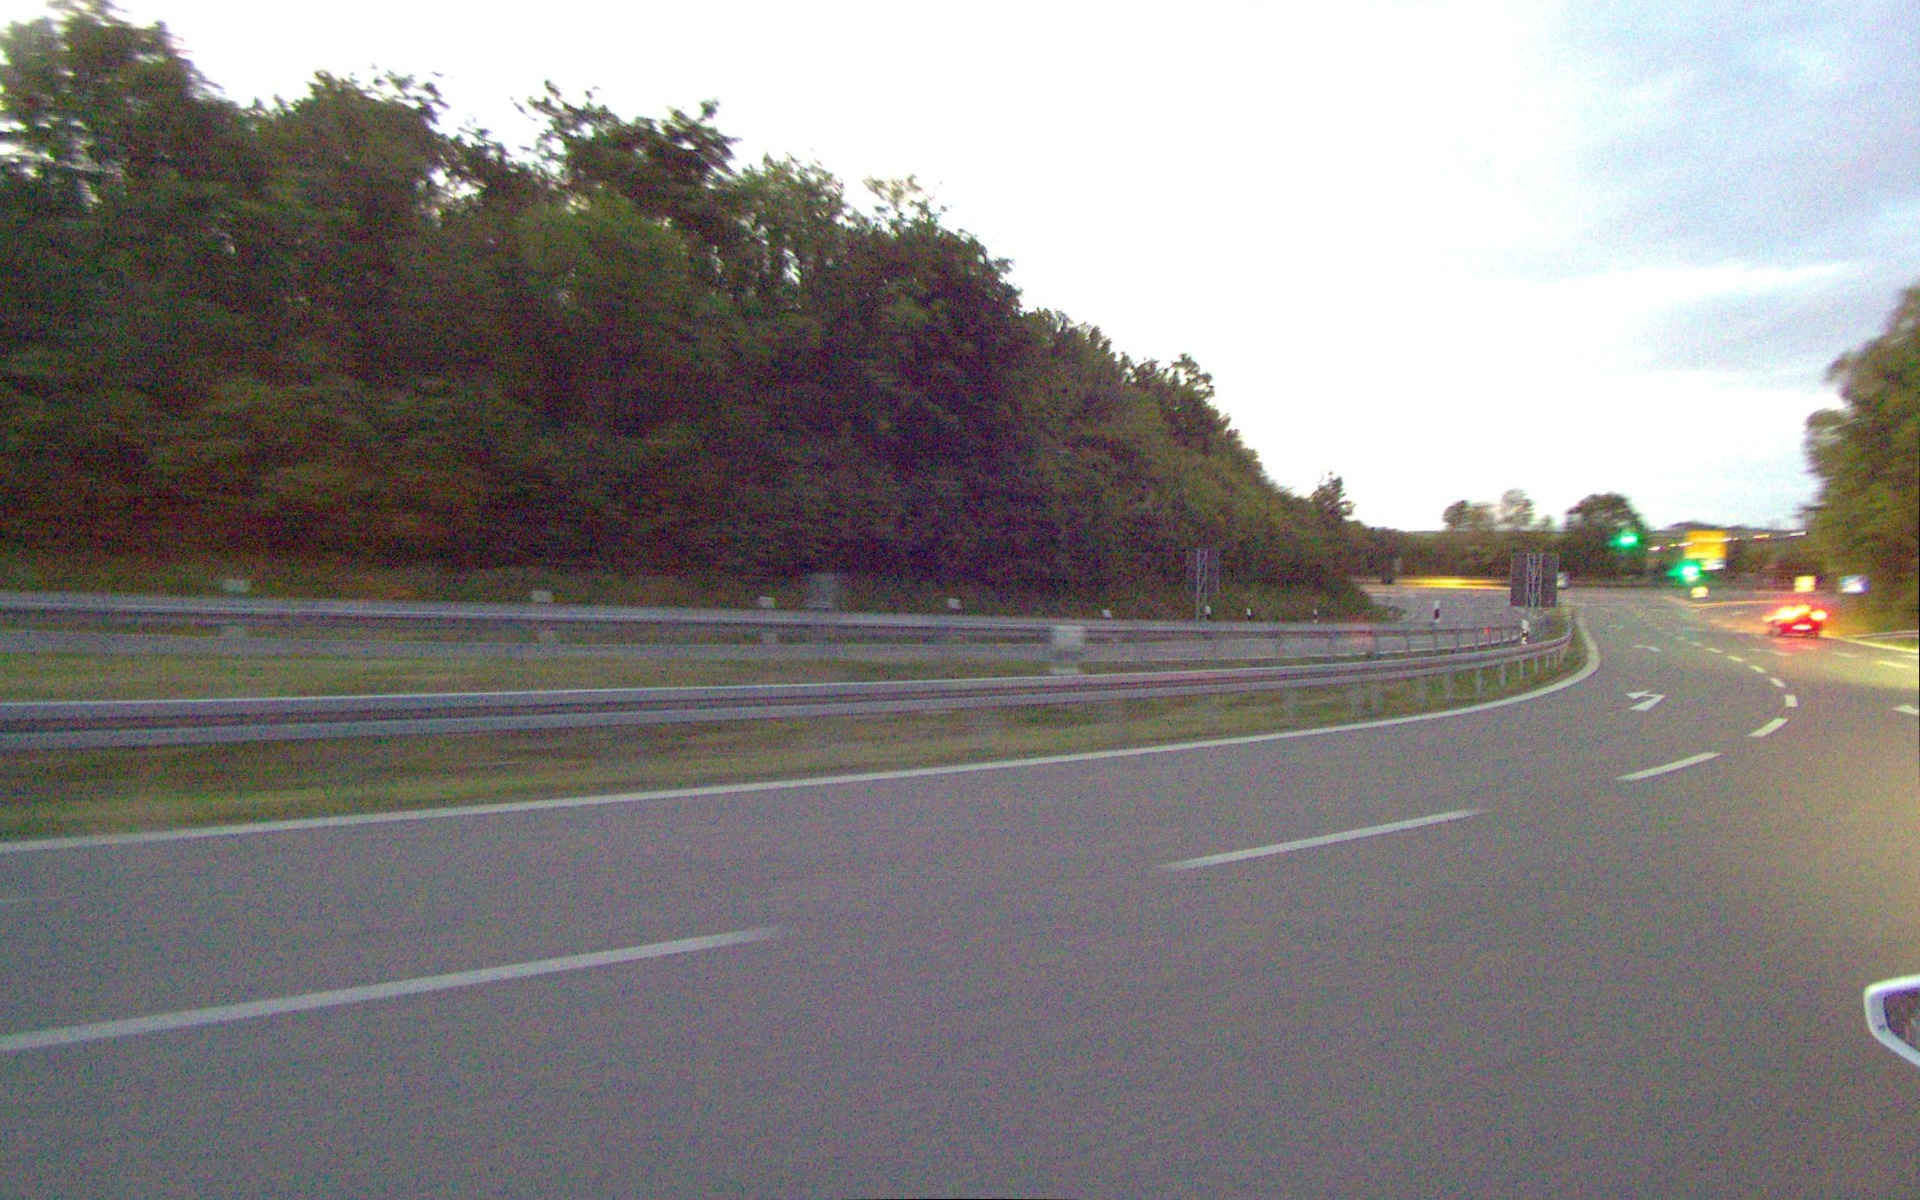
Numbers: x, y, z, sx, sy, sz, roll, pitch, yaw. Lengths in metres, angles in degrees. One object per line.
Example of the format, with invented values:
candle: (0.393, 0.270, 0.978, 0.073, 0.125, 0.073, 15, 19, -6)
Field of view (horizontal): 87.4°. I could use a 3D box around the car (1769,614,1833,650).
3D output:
car: (42.578, 1.601, 50.962, 1.755, 1.675, 3.993, 2, 0, 30)
